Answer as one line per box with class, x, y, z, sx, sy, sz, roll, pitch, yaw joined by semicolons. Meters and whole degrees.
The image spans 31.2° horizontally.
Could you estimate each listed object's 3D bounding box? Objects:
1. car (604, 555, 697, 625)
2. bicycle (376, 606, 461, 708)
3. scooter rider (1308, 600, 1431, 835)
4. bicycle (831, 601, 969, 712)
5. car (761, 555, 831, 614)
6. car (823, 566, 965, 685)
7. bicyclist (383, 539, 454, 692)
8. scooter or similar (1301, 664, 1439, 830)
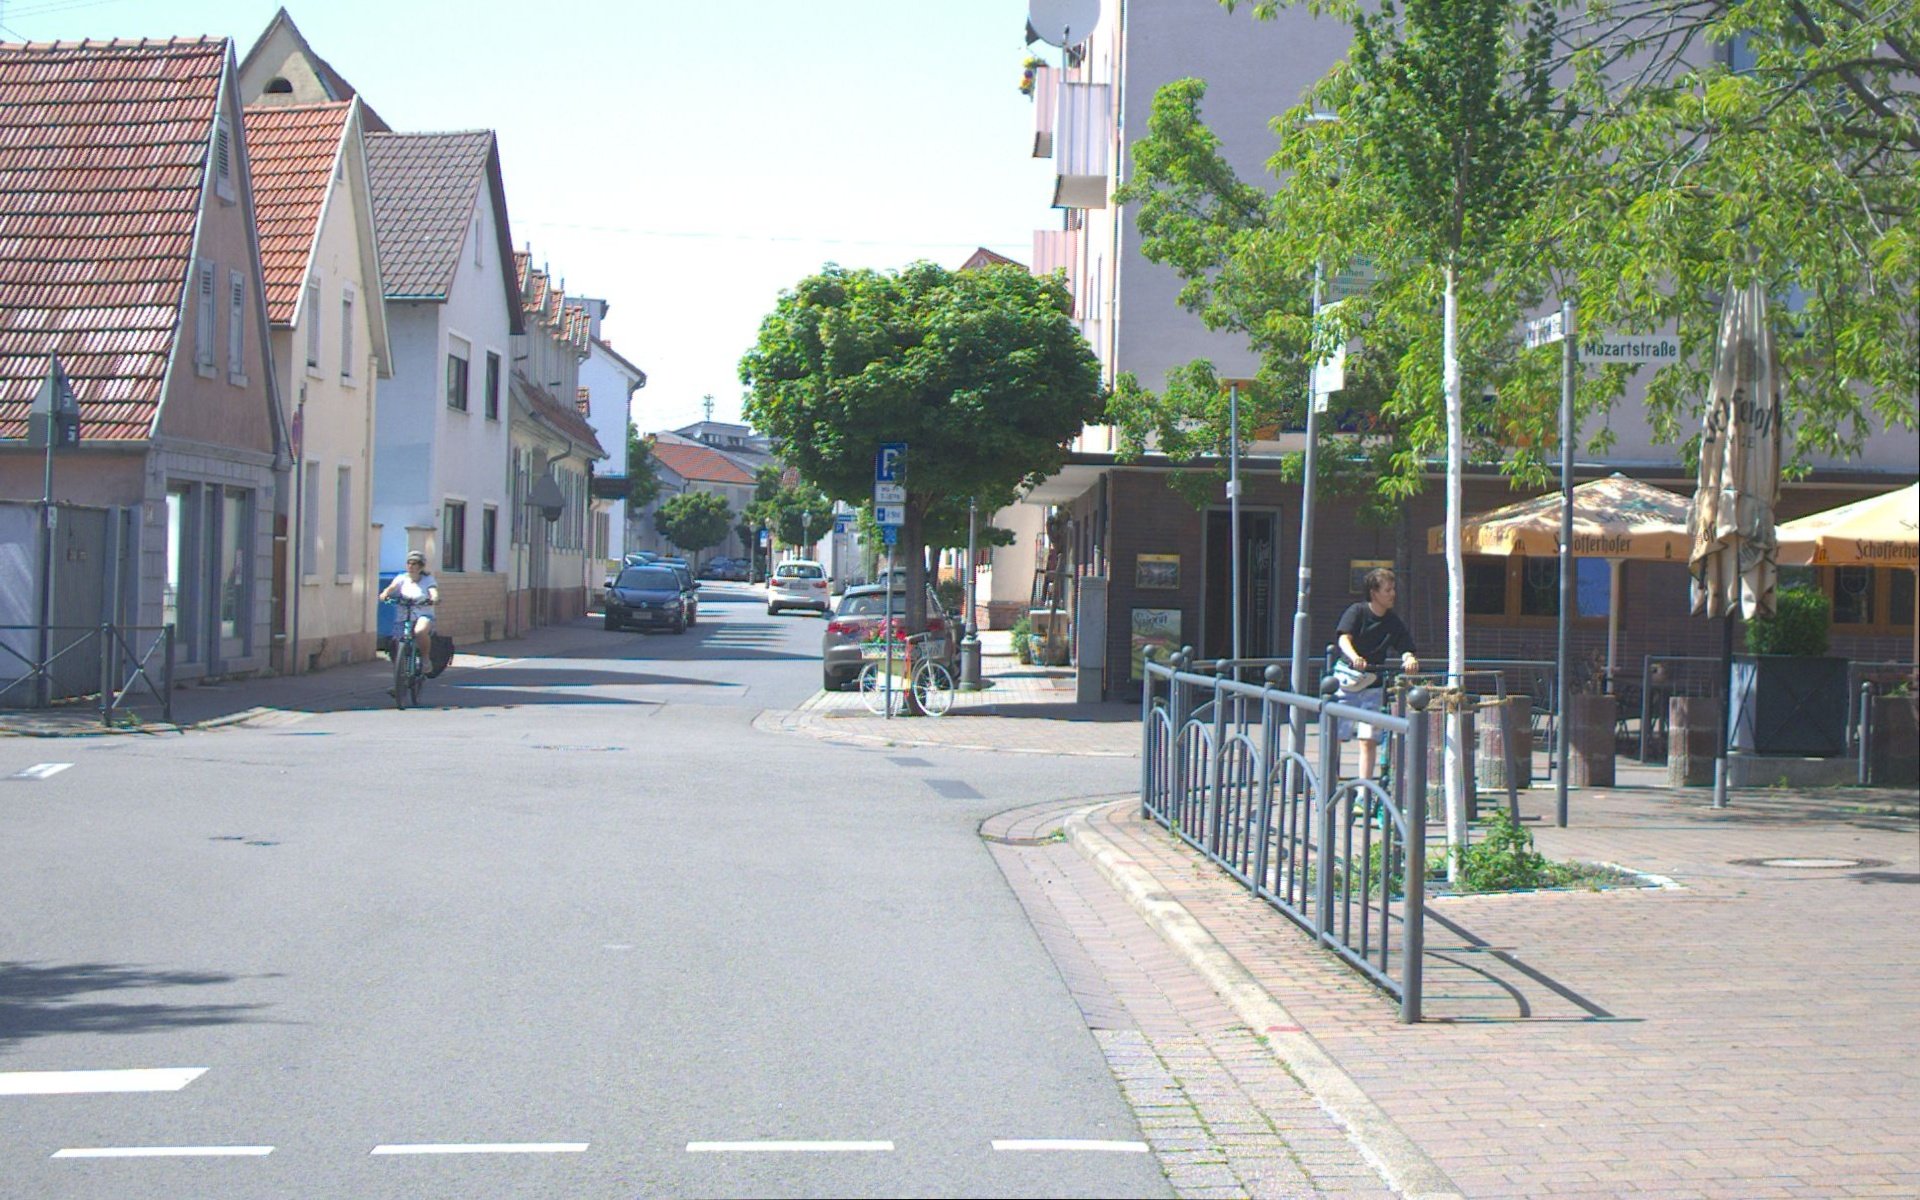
car;-7.024;-0.236;78.204;1.714;1.512;3.786;1;0;0
bicycle;-6.046;0.624;38.441;0.674;1.090;1.896;0;0;-1
scooter rider;2.272;0.648;19.103;0.516;1.281;0.418;1;0;-21
bicycle;-0.686;0.629;38.665;0.525;1.189;1.674;1;0;-44
car;-4.785;-0.459;100.619;1.834;1.646;4.000;1;0;0
car;-0.866;0.319;47.397;1.805;1.496;4.000;1;1;1
bicyclist;-6.036;0.170;38.336;0.669;1.685;0.761;0;0;-1
scooter or similar;2.268;0.805;19.073;0.378;0.870;0.890;1;0;-20
